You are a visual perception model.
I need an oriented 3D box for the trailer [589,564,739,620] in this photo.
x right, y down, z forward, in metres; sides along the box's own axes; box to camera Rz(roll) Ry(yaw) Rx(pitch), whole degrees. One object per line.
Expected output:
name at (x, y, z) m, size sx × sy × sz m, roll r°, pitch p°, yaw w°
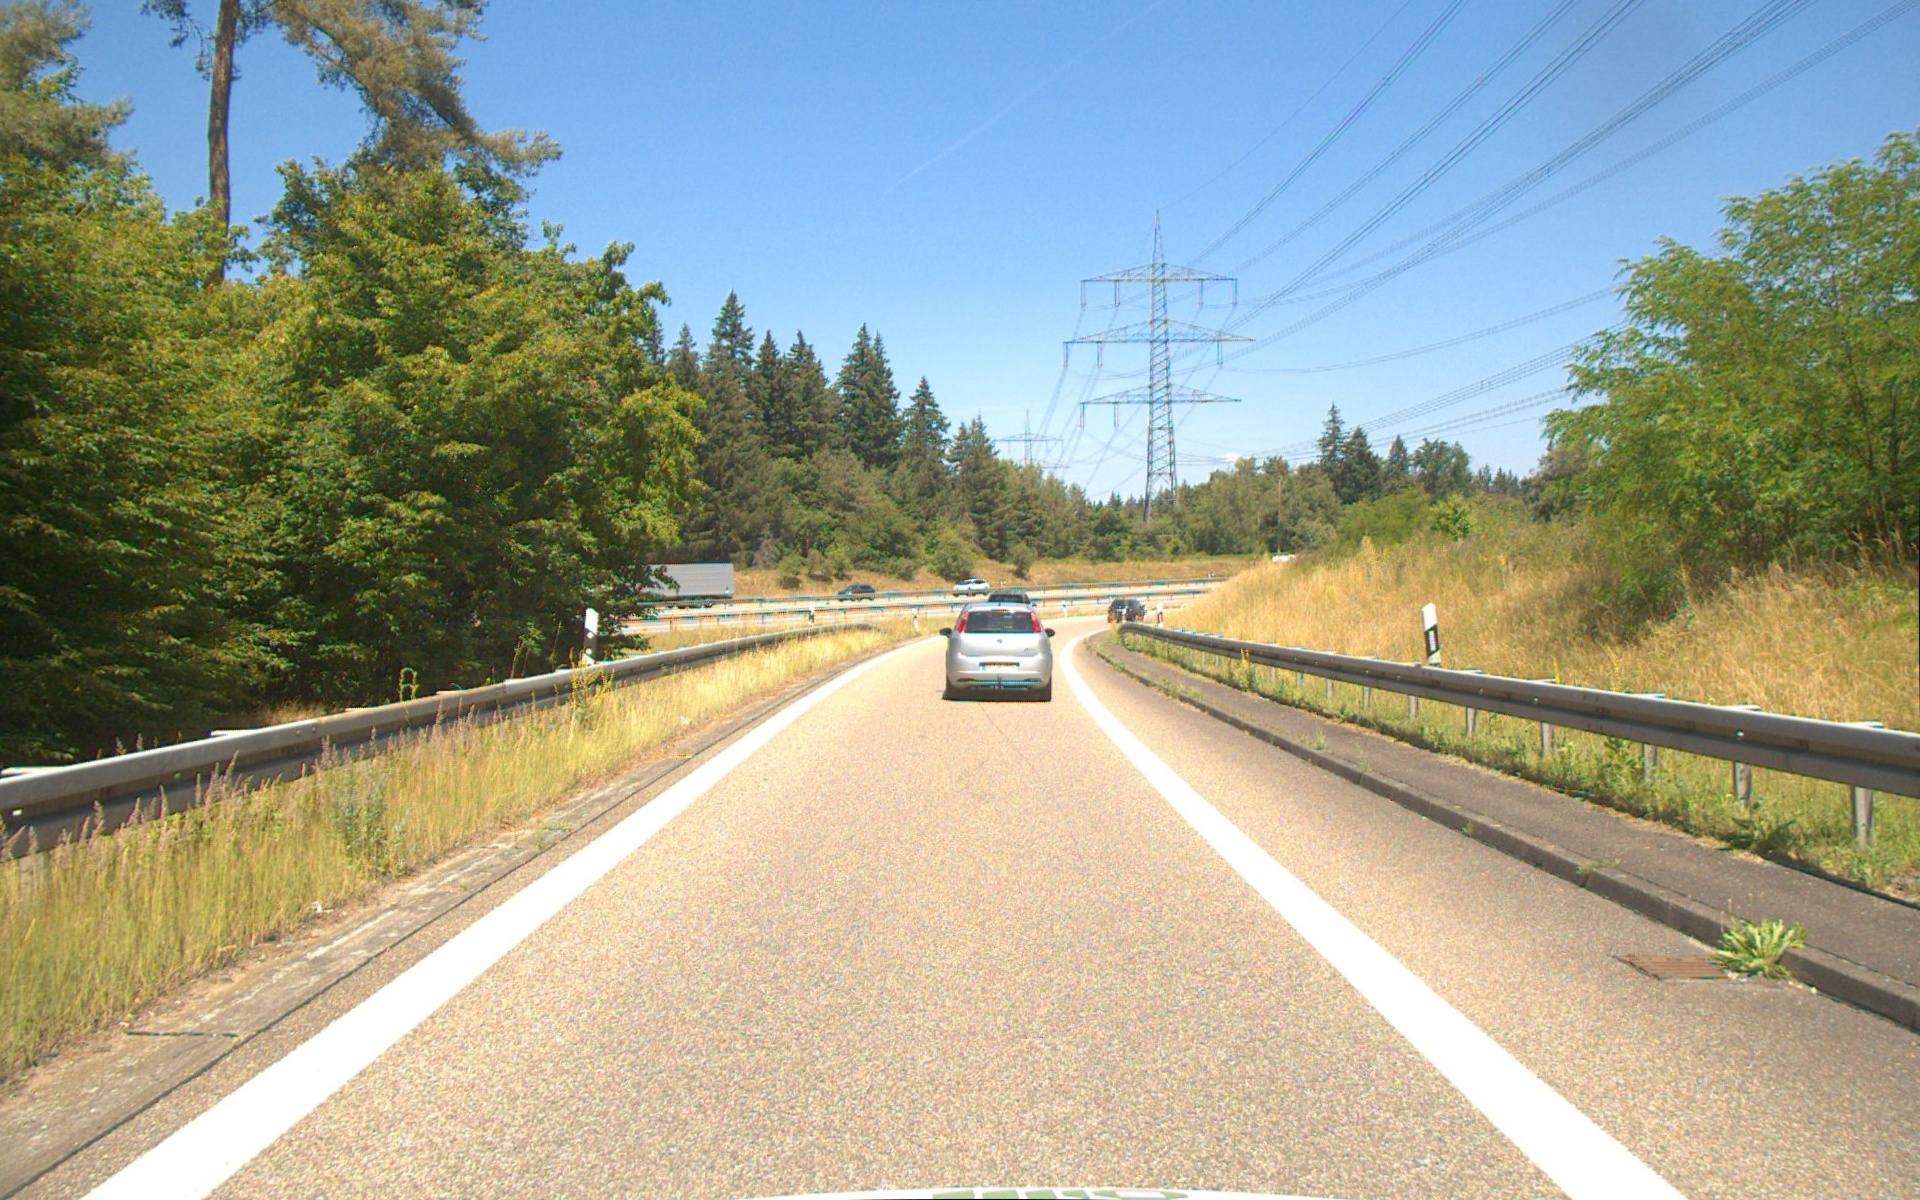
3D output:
trailer at (-25.323, -0.762, 142.539) m, size 2.878 × 4.464 × 14.229 m, roll -2°, pitch 0°, yaw 39°

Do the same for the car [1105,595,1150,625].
car at (10.204, 0.593, 100.505) m, size 1.842 × 1.713 × 4.002 m, roll -3°, pitch 0°, yaw 18°

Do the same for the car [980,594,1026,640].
car at (1.708, 0.636, 64.949) m, size 1.670 × 1.705 × 3.399 m, roll 0°, pitch 1°, yaw 4°

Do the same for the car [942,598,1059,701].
car at (0.584, 0.763, 26.200) m, size 1.672 × 1.508 × 3.396 m, roll 1°, pitch -1°, yaw -2°

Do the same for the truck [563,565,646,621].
truck at (-29.482, -0.587, 137.356) m, size 2.893 × 4.469 × 6.241 m, roll -2°, pitch 0°, yaw 39°
